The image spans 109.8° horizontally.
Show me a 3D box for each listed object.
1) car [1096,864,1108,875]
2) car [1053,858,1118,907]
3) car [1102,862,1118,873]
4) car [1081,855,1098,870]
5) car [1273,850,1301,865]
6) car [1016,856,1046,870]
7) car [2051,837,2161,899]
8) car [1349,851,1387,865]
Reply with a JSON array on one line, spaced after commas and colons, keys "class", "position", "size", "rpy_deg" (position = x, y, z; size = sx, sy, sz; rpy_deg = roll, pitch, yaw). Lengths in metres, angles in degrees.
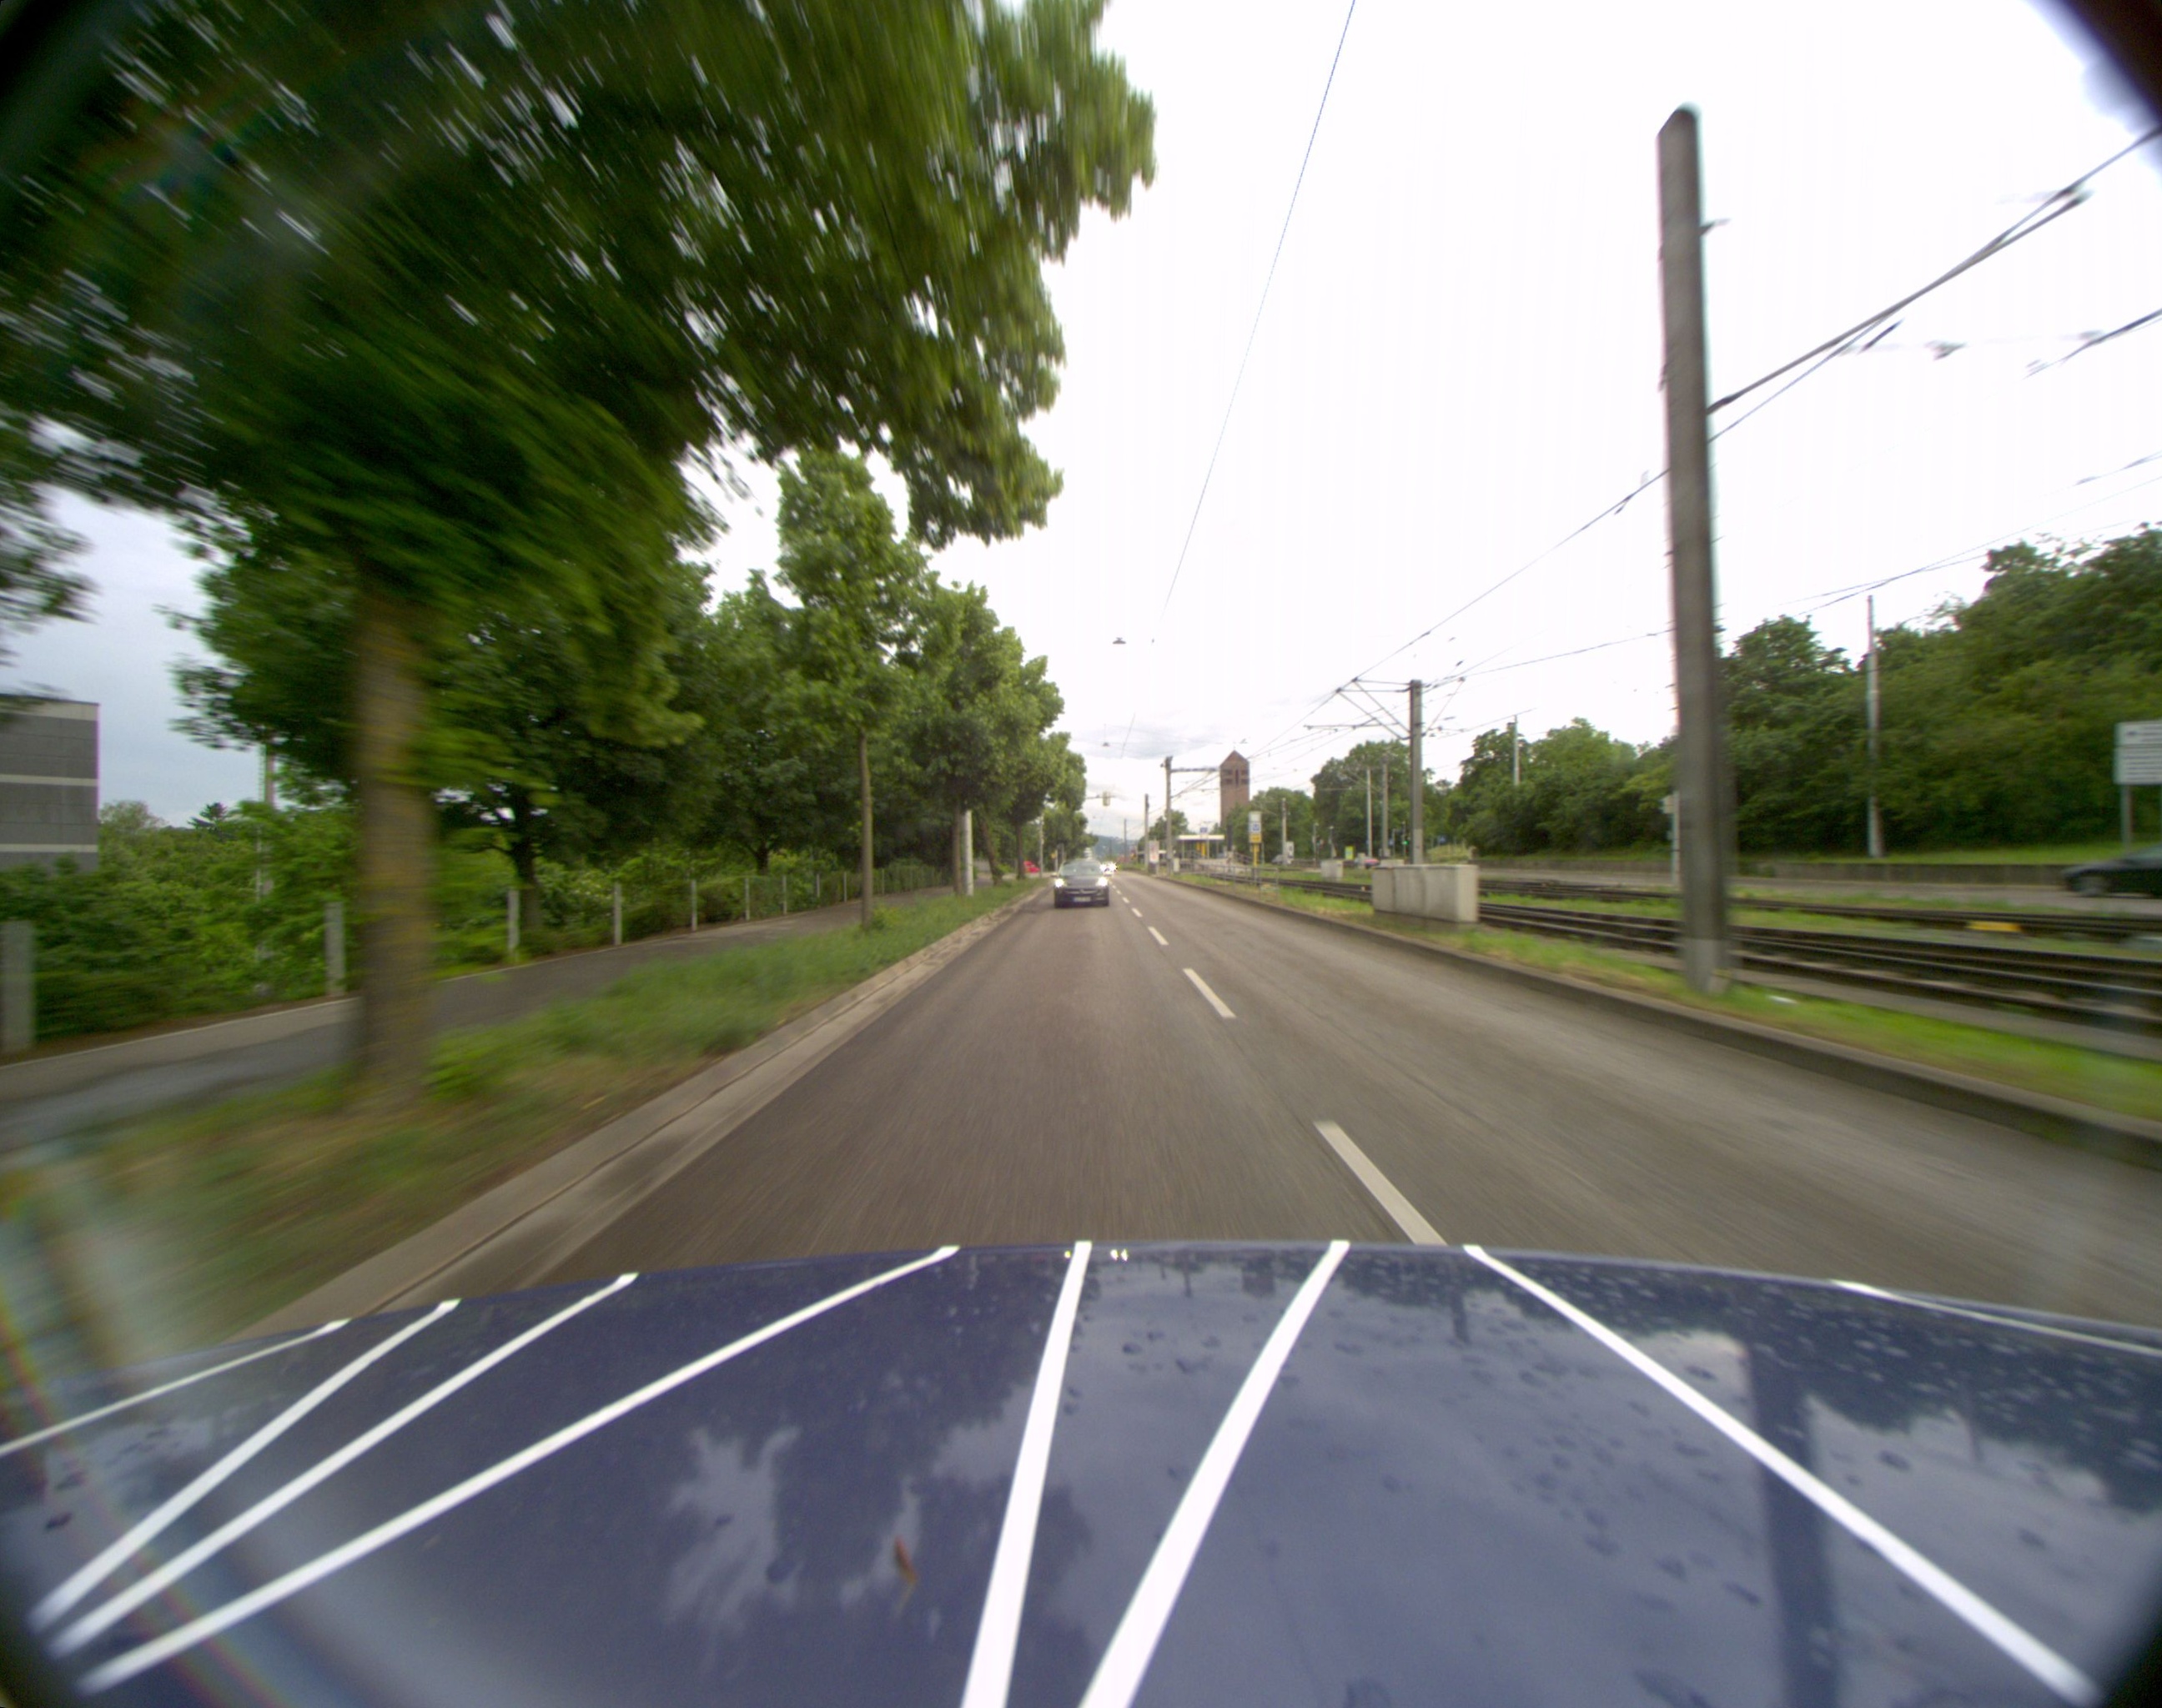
[{"class": "car", "position": [3.301, 2.483, 119.068], "size": [1.812, 1.566, 3.971], "rpy_deg": [-2, 0, 1]}, {"class": "car", "position": [0.158, 0.890, 24.885], "size": [1.899, 1.432, 4.474], "rpy_deg": [-2, -1, 1]}, {"class": "car", "position": [3.835, 1.759, 100.236], "size": [1.899, 1.432, 4.247], "rpy_deg": [-2, -1, 1]}, {"class": "car", "position": [1.019, 0.979, 90.240], "size": [1.998, 1.608, 4.000], "rpy_deg": [-2, 0, 0]}, {"class": "car", "position": [24.309, 0.422, 89.816], "size": [2.088, 1.728, 4.862], "rpy_deg": [-1, 0, 0]}, {"class": "car", "position": [-8.541, 1.497, 130.510], "size": [1.994, 2.179, 5.041], "rpy_deg": [-2, 0, 43]}, {"class": "car", "position": [26.016, 0.300, 17.278], "size": [1.932, 1.438, 4.681], "rpy_deg": [-1, 0, -1]}, {"class": "car", "position": [26.785, 0.403, 71.066], "size": [1.932, 1.254, 4.474], "rpy_deg": [-1, 0, 0]}]
